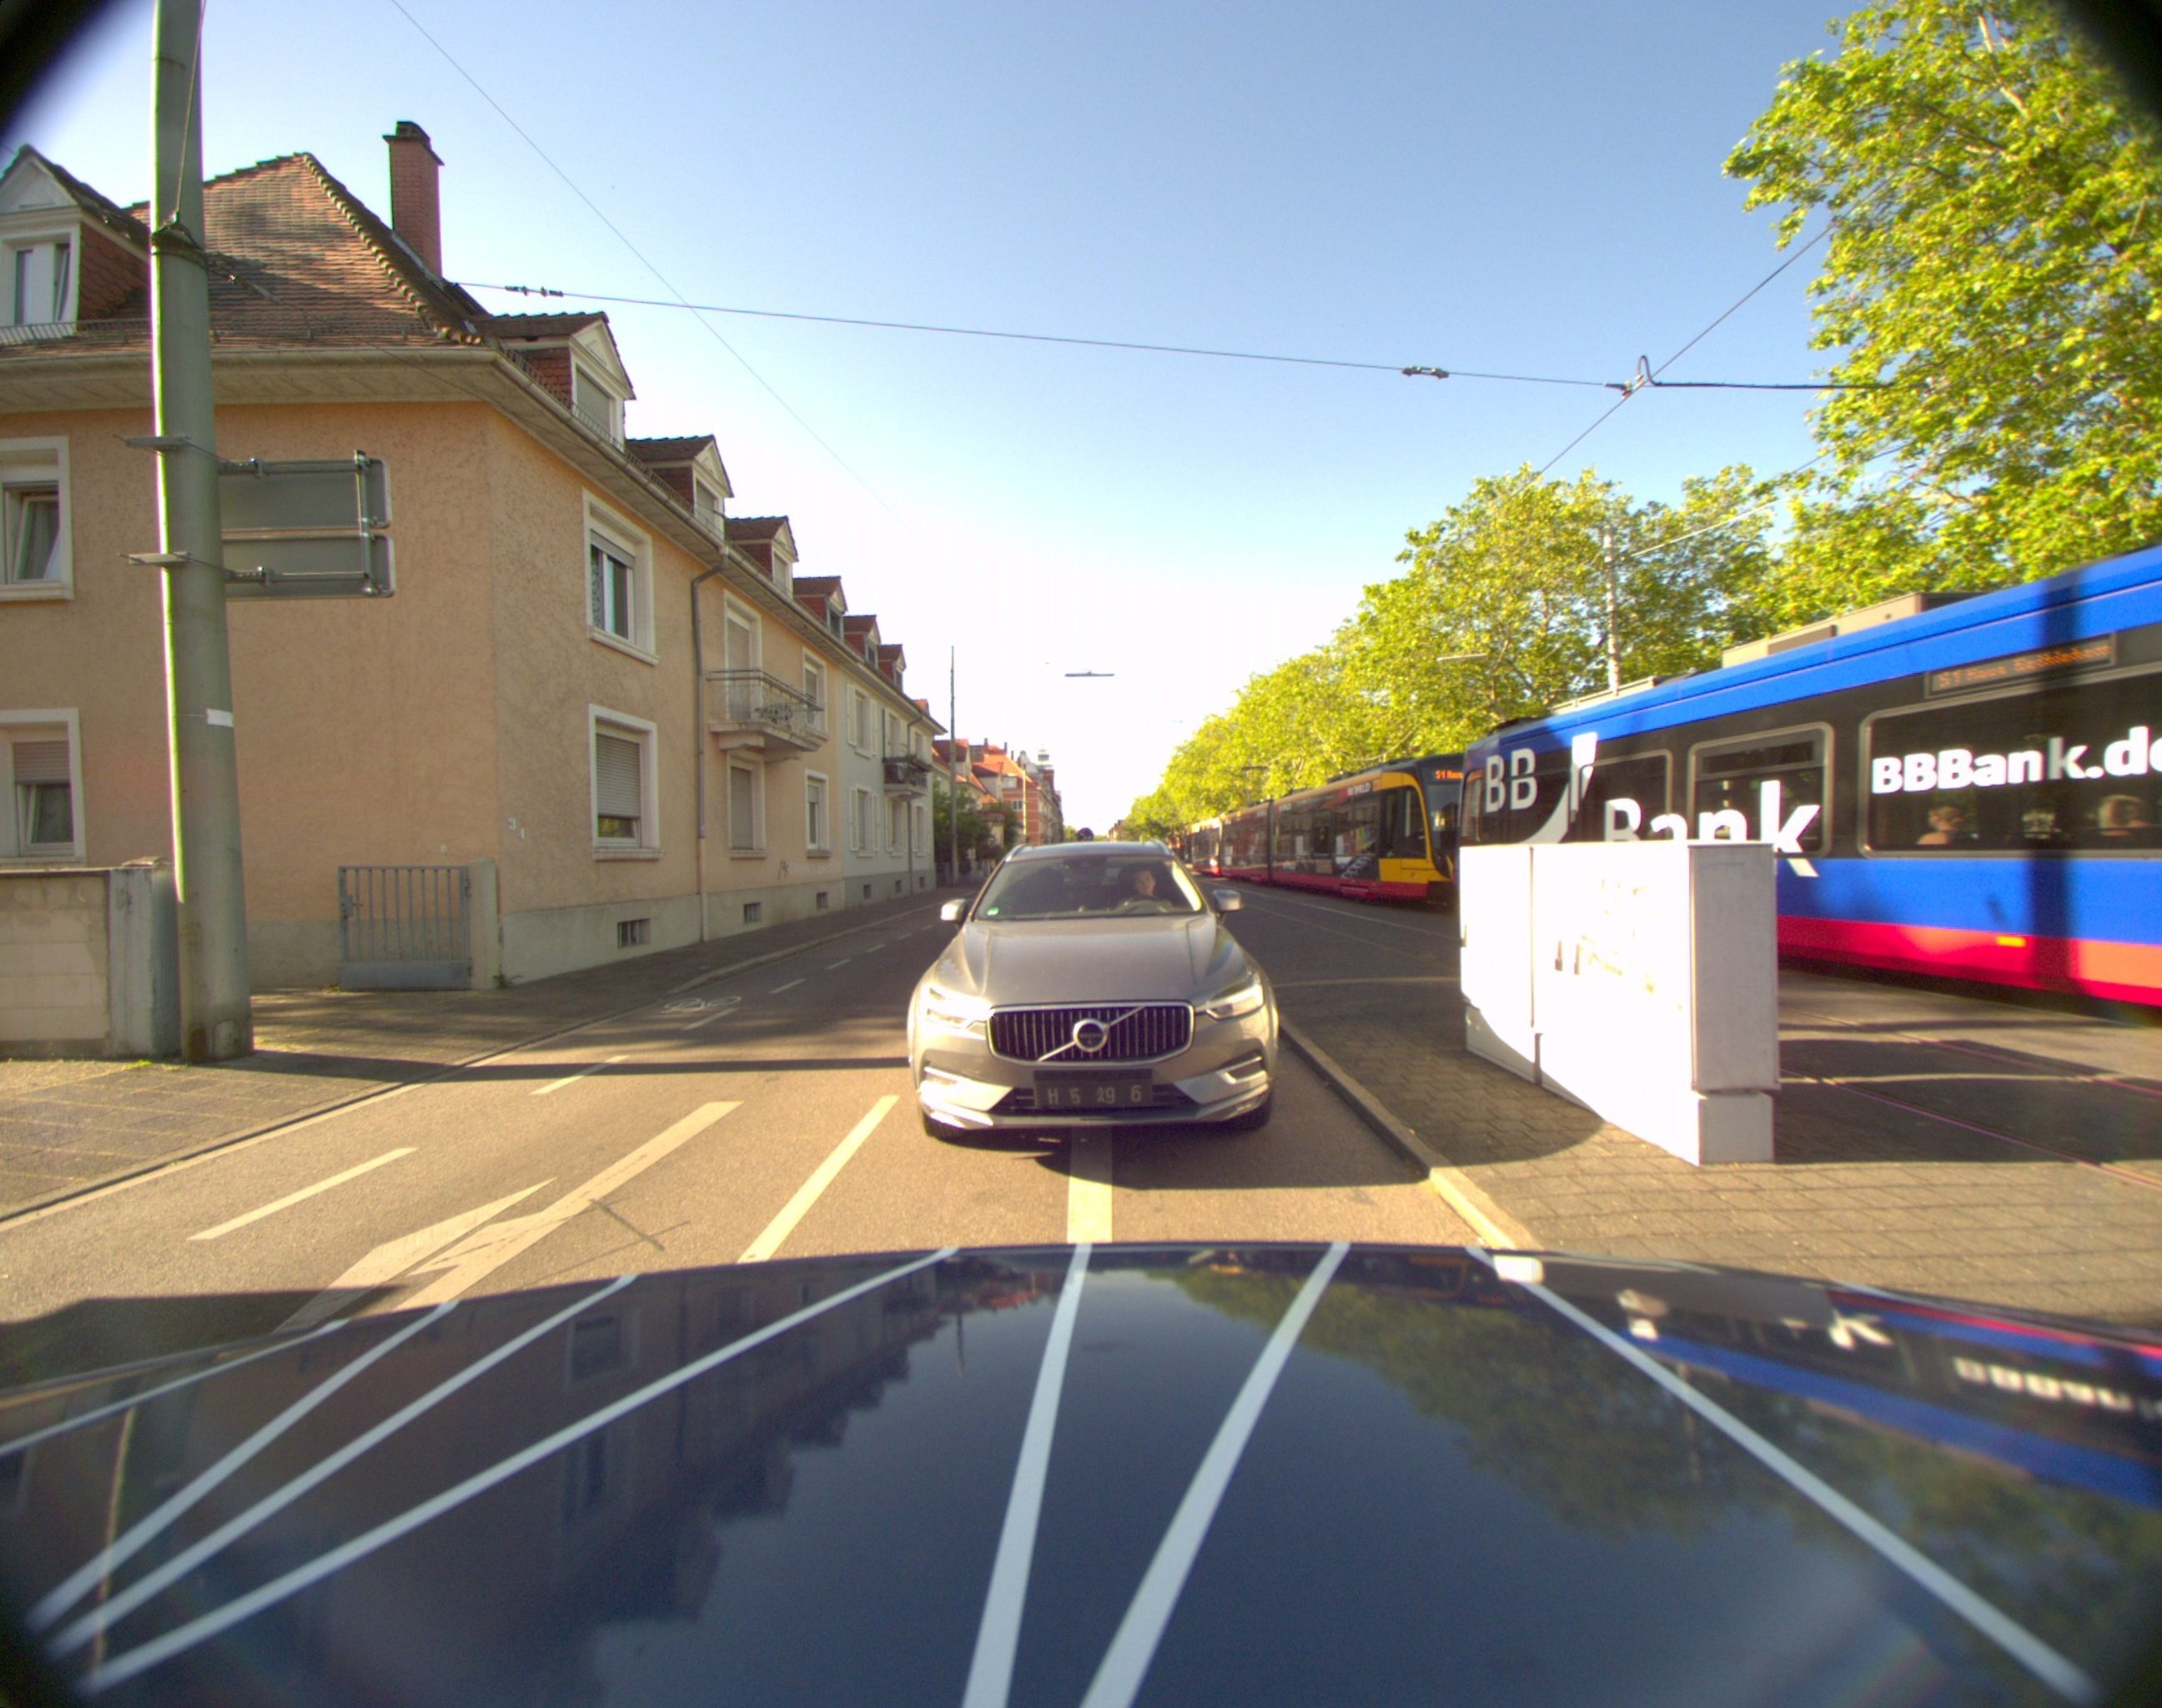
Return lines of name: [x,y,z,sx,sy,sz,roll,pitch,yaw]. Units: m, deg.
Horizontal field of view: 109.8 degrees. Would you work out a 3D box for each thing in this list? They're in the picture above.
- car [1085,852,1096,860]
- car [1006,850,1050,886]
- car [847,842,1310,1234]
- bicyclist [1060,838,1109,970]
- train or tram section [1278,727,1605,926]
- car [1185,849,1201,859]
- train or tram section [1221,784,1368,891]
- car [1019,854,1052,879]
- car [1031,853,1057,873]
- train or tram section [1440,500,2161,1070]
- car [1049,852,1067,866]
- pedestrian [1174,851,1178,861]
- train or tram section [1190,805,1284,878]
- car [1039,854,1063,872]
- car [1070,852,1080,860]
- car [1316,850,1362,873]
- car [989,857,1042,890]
car: [1.798,0.355,143.514,1.882,1.477,3.999,-1,0,-1]
car: [-2.901,0.727,42.954,1.932,1.834,5.313,-1,0,2]
car: [0.022,0.769,5.445,1.917,1.621,4.502,-1,0,1]
bicyclist: [0.054,0.651,10.218,0.600,1.709,0.662,-1,1,1]
train or tram section: [8.211,-0.531,20.062,3.063,3.592,12.114,-1,0,1]
car: [18.524,-0.061,125.679,1.882,1.542,3.999,-1,0,-2]
train or tram section: [8.451,-0.594,32.101,3.062,3.592,11.950,-1,0,1]
car: [-2.823,0.784,48.289,1.882,1.477,3.999,-1,0,-1]
car: [-2.935,0.695,61.018,1.882,1.477,3.999,-1,0,-1]
train or tram section: [8.287,-0.471,8.010,3.063,3.592,12.112,-1,0,-1]
car: [-2.543,0.549,85.758,1.882,1.477,3.999,-1,0,-1]
pedestrian: [15.700,0.401,125.836,0.578,1.632,0.677,-1,1,3]
train or tram section: [8.721,-0.637,44.472,3.063,3.592,12.889,-1,0,1]
car: [-2.603,0.771,66.739,1.882,1.477,3.999,-1,0,-1]
car: [-1.108,0.305,148.212,1.882,1.477,3.999,-1,0,-1]
car: [17.029,0.462,50.334,1.882,1.477,4.000,-1,0,2]
car: [-3.137,0.920,37.167,1.881,1.477,4.001,-1,0,5]
